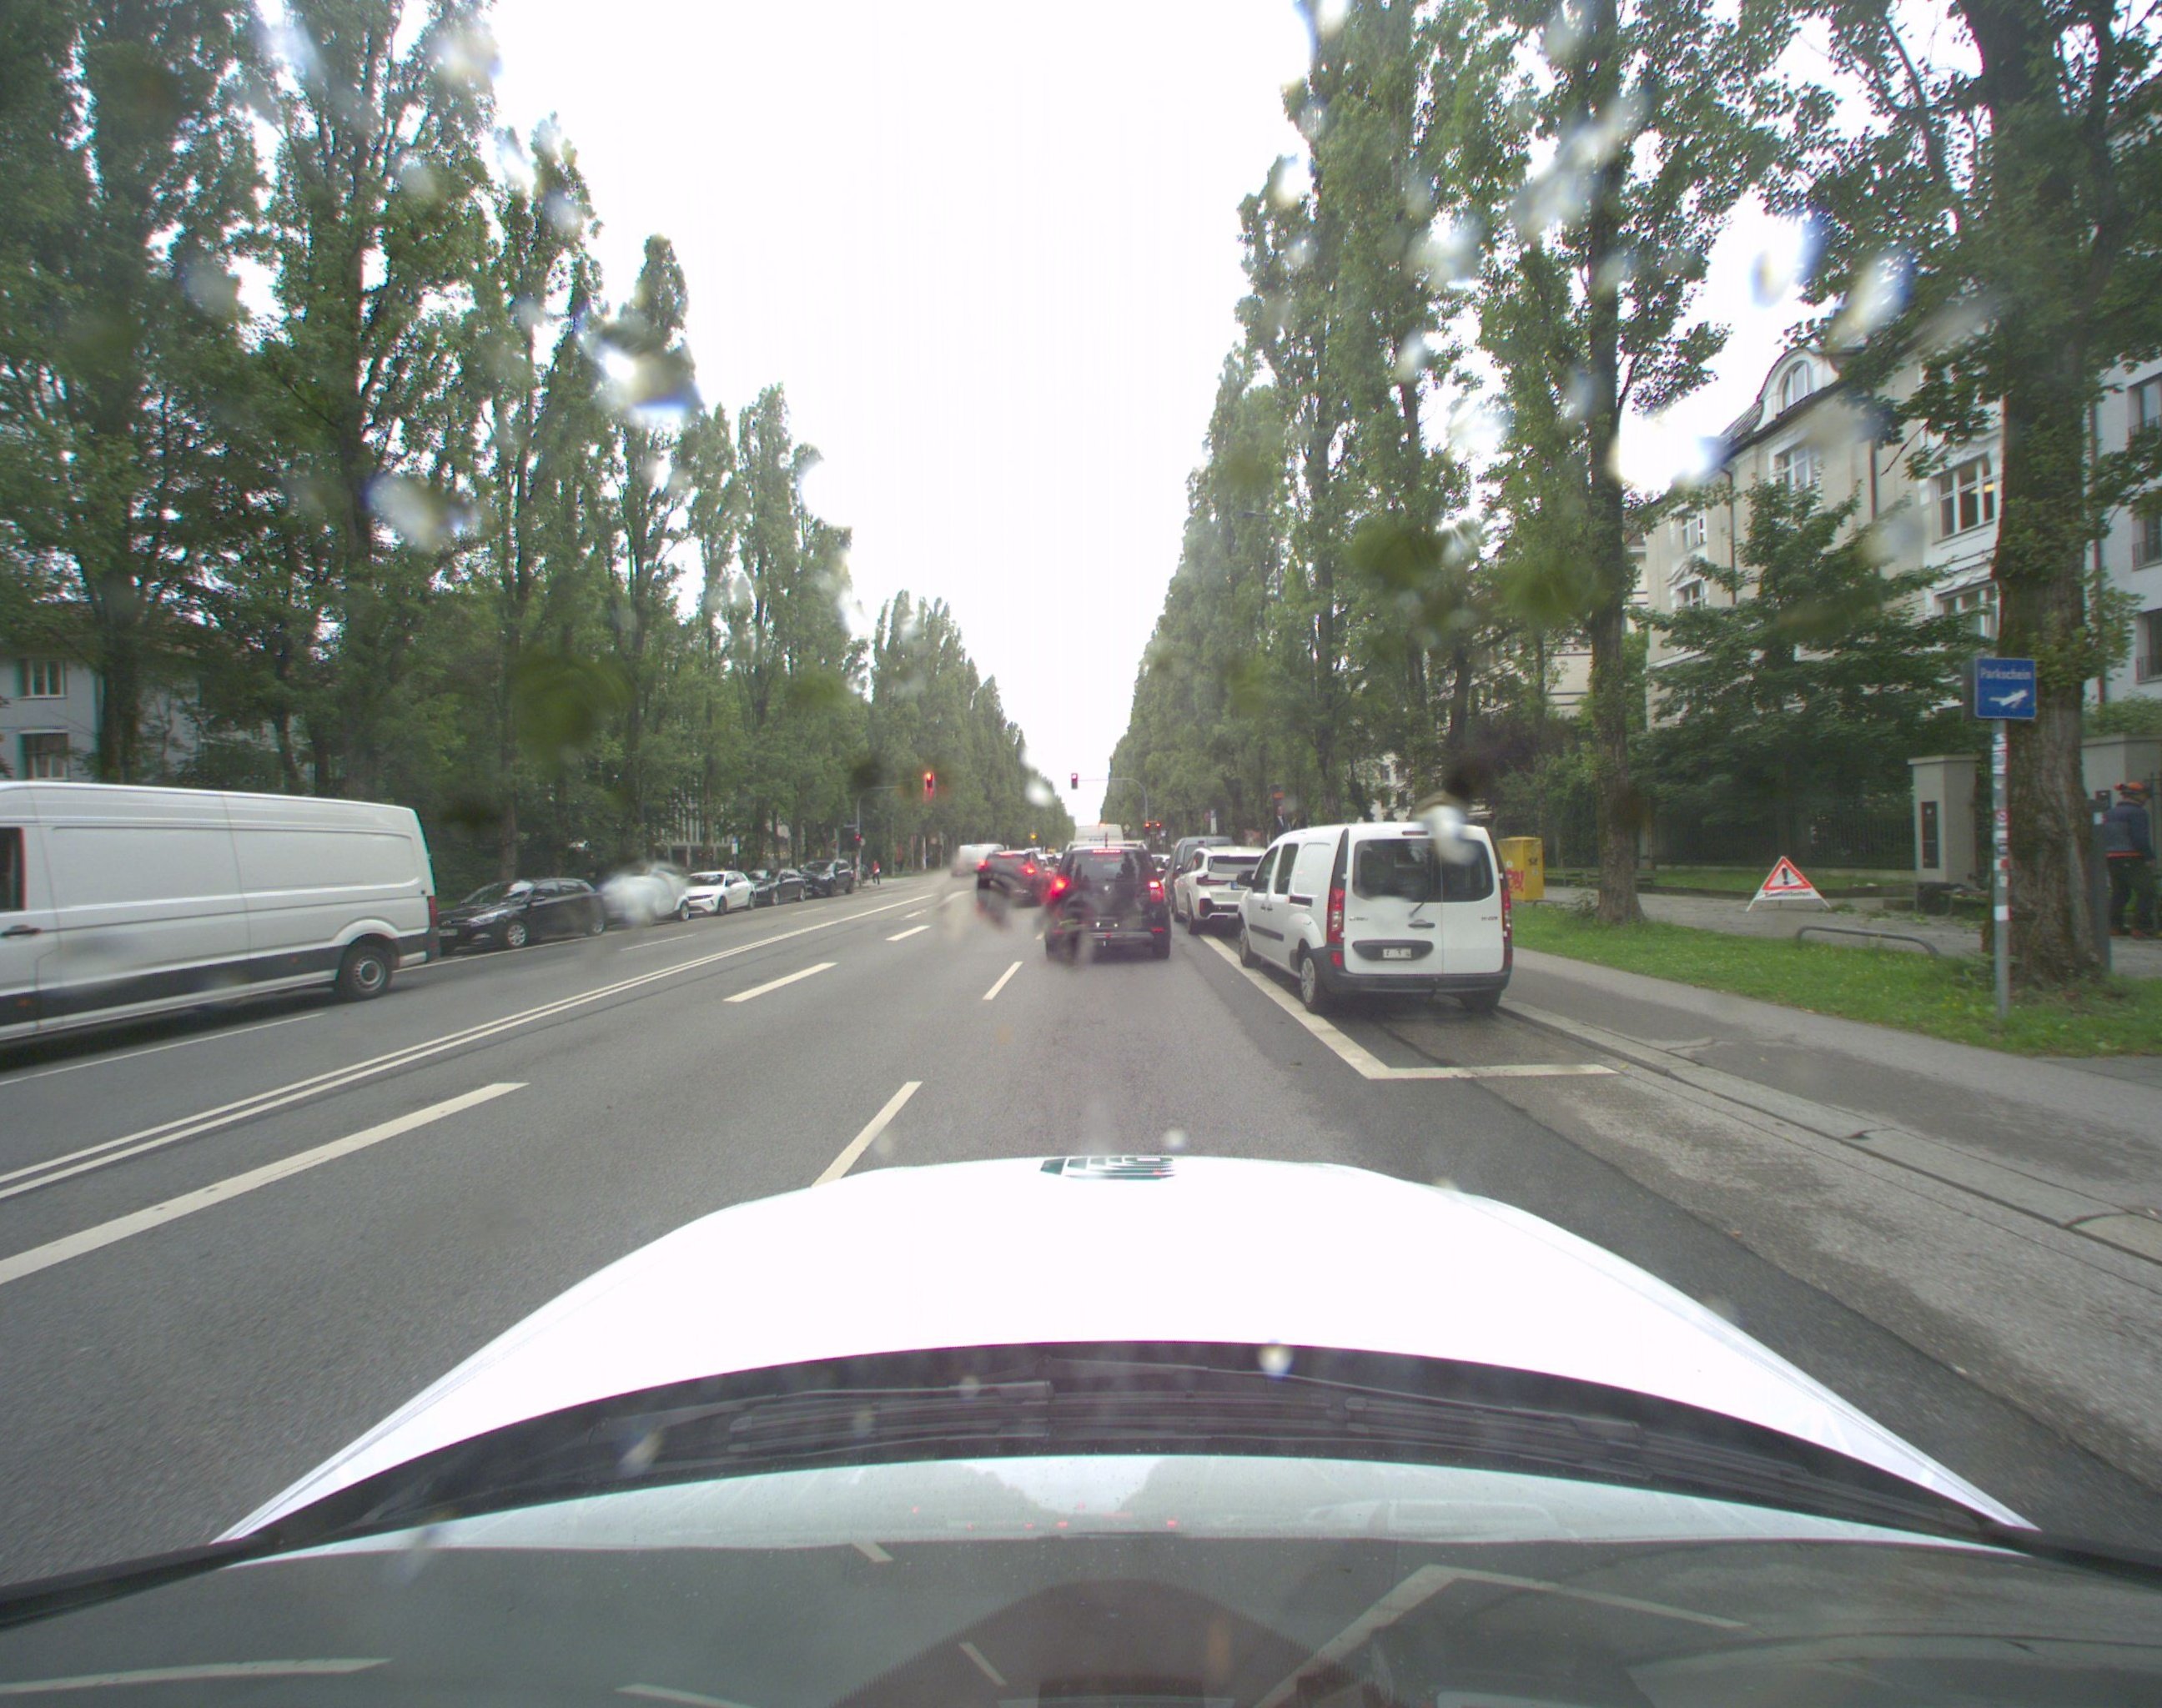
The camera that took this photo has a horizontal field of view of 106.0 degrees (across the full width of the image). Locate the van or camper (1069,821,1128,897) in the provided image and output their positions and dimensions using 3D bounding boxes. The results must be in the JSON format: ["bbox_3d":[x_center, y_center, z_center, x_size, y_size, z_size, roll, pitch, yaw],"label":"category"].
[{"bbox_3d":[0.584,0.161,30.251,1.969,2.548,4.023,-2,0,-1],"label":"van or camper"}]

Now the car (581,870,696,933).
[{"bbox_3d":[-12.266,1.268,22.765,1.422,1.447,2.966,-5,0,1],"label":"car"}]

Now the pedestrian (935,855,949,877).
[{"bbox_3d":[-11.848,1.017,69.459,0.875,1.764,0.880,-2,0,10],"label":"pedestrian"}]

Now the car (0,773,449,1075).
[{"bbox_3d":[-10.027,0.636,8.036,2.221,2.483,6.755,-4,0,-1],"label":"car"}]

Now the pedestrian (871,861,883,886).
[{"bbox_3d":[-12.078,1.159,48.245,0.515,1.485,0.537,-2,0,1],"label":"pedestrian"}]

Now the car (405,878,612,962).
[{"bbox_3d":[-12.332,1.352,17.885,1.594,1.425,3.854,-4,0,3],"label":"car"}]

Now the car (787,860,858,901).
[{"bbox_3d":[-12.103,1.214,38.435,1.844,1.654,4.693,-4,0,-1],"label":"car"}]

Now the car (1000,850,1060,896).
[{"bbox_3d":[-1.903,0.683,31.352,1.987,1.560,4.000,-2,1,0],"label":"car"}]

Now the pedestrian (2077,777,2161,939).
[{"bbox_3d":[12.547,0.045,9.728,0.487,1.862,0.635,-2,0,-16],"label":"pedestrian"}]

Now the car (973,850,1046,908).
[{"bbox_3d":[-2.085,0.680,24.740,1.775,1.620,4.025,0,0,1],"label":"car"}]

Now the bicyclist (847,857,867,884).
[{"bbox_3d":[-14.458,1.052,52.655,0.900,1.722,0.827,-2,0,10],"label":"bicyclist"}]

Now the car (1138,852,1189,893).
[{"bbox_3d":[3.274,0.701,32.868,1.729,1.475,3.563,-2,0,1],"label":"car"}]

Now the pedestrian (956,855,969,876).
[{"bbox_3d":[-10.222,0.975,70.269,0.875,1.764,0.880,-2,0,10],"label":"pedestrian"}]

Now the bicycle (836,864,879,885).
[{"bbox_3d":[-14.446,1.310,52.656,2.519,1.237,0.815,-2,0,10],"label":"bicycle"}]

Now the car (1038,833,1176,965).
[{"bbox_3d":[0.400,0.606,13.015,1.849,1.770,4.001,0,0,1],"label":"car"}]

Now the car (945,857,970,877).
[{"bbox_3d":[-11.725,1.205,77.708,1.682,1.783,3.776,-2,0,1],"label":"car"}]

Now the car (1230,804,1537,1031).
[{"bbox_3d":[2.963,0.526,9.036,1.845,1.881,4.168,-2,0,0],"label":"car"}]

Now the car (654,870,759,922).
[{"bbox_3d":[-12.261,1.324,26.960,1.619,1.389,4.163,-4,0,-2],"label":"car"}]

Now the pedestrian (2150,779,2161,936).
[{"bbox_3d":[12.677,0.023,8.970,0.801,1.782,0.816,-2,0,-16],"label":"pedestrian"}]

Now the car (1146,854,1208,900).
[{"bbox_3d":[3.184,0.730,27.565,1.729,1.387,3.563,-2,0,1],"label":"car"}]

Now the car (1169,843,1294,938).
[{"bbox_3d":[2.837,0.624,16.218,1.735,1.593,4.212,-2,0,1],"label":"car"}]

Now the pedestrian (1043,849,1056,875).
[{"bbox_3d":[-2.563,0.650,66.747,0.881,2.013,1.014,-2,0,4],"label":"pedestrian"}]

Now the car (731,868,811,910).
[{"bbox_3d":[-12.261,1.343,32.485,1.619,1.389,4.164,-4,0,-1],"label":"car"}]

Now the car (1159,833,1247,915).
[{"bbox_3d":[3.109,0.462,21.490,1.729,1.895,4.025,-2,0,1],"label":"car"}]

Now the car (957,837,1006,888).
[{"bbox_3d":[-4.434,0.379,36.787,1.777,2.111,4.022,-2,0,-2],"label":"car"}]
